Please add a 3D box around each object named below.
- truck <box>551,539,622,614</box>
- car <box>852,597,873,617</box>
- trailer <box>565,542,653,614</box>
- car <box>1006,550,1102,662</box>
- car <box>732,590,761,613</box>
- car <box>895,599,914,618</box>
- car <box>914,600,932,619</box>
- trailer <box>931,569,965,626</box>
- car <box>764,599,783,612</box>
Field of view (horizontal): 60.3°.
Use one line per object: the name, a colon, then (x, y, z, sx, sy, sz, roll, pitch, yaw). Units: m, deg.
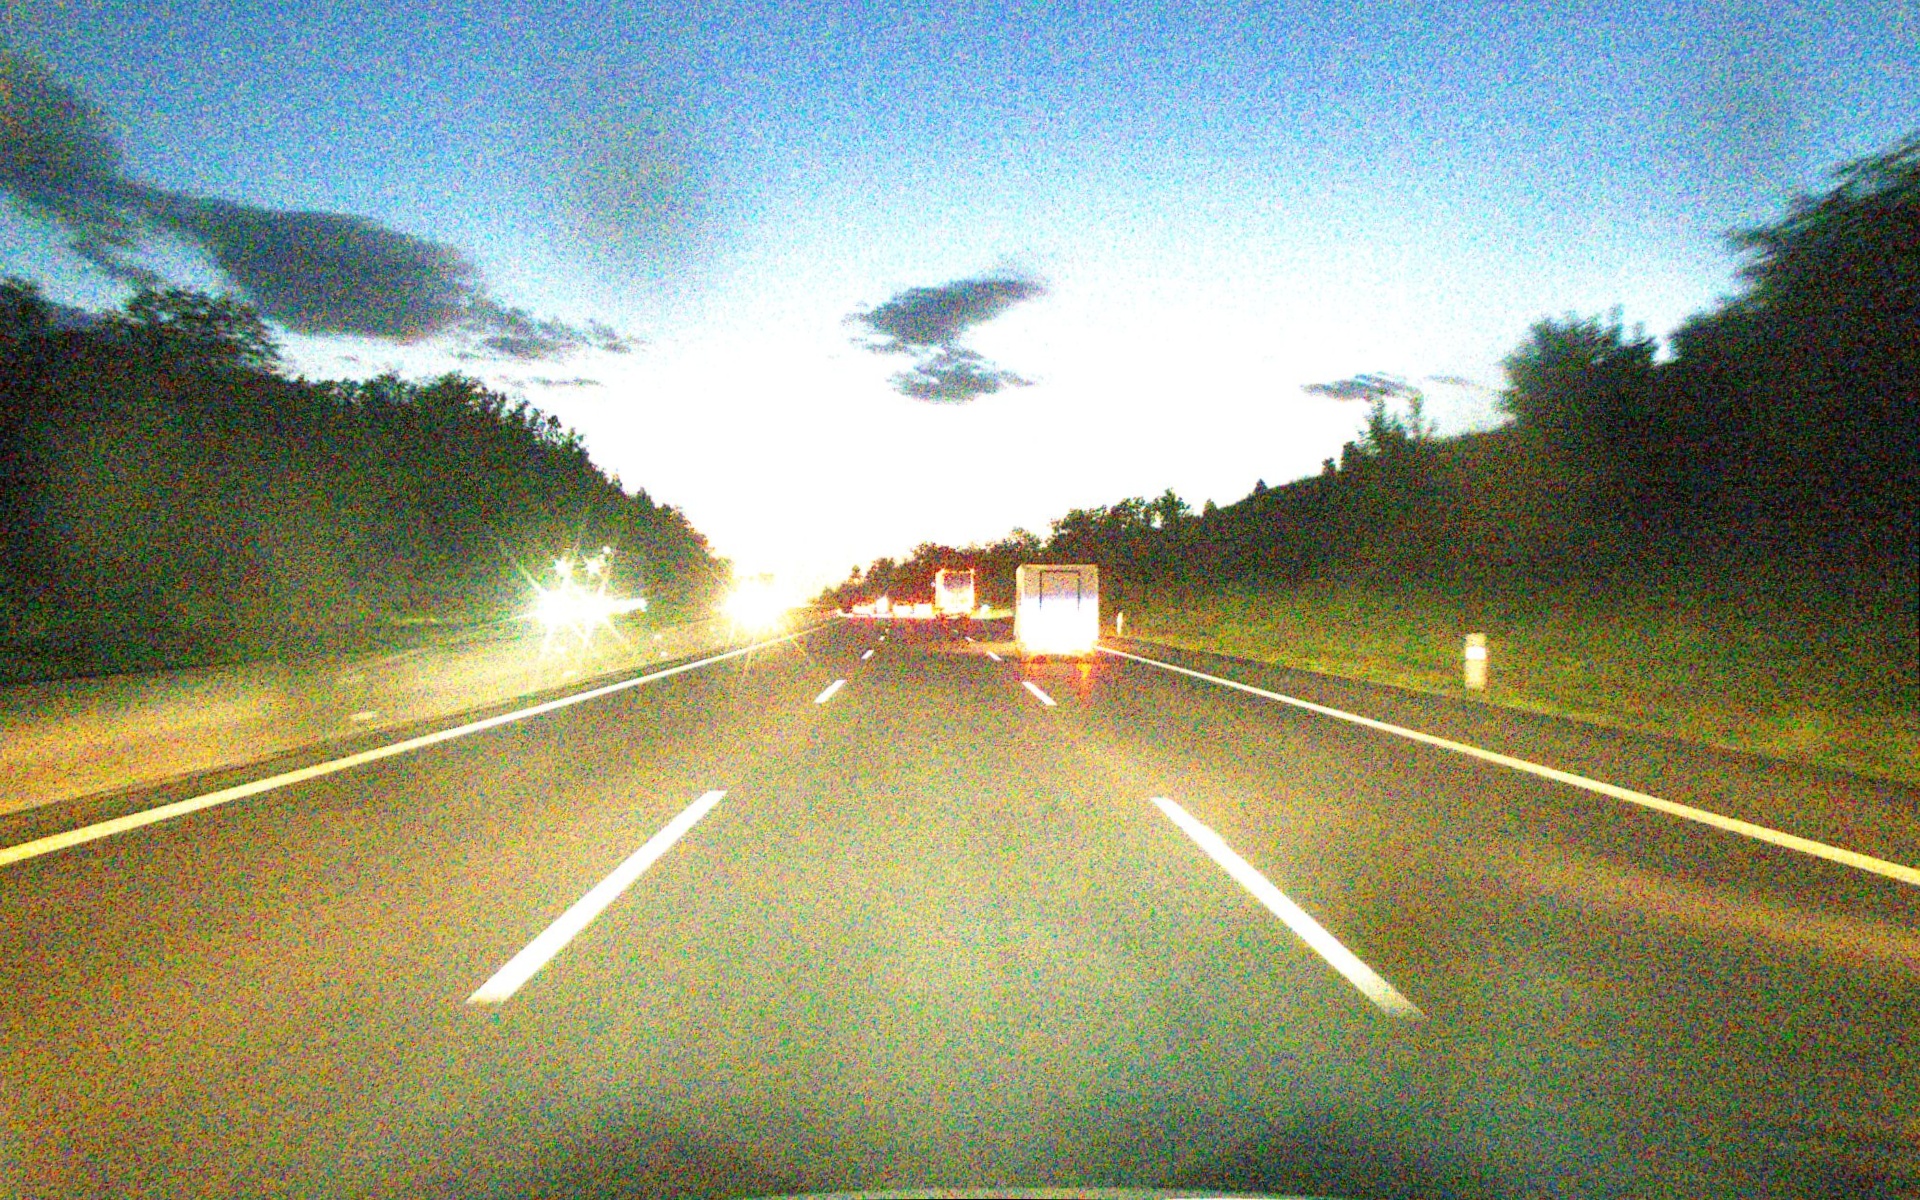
truck: (-20.858, -1.284, 92.667, 2.796, 4.050, 5.857, 0, 0, -2)
car: (-9.741, 0.701, 164.936, 1.955, 1.825, 3.995, 1, -2, -5)
trailer: (-21.086, -1.257, 100.302, 2.796, 4.050, 13.880, 0, 0, -2)
car: (2.360, 0.156, 42.754, 1.991, 2.693, 5.723, 0, 0, -2)
car: (-20.564, 0.130, 159.517, 2.199, 2.138, 5.712, 0, 0, -3)
car: (-5.623, 0.854, 167.366, 1.953, 1.825, 3.998, 0, -2, -2)
car: (-4.405, 1.097, 195.934, 1.954, 2.154, 3.996, 0, -2, -3)
trailer: (-1.107, -0.058, 141.873, 2.772, 4.332, 17.042, 0, -2, -1)
car: (-24.147, 0.749, 214.660, 2.200, 1.697, 4.886, 0, 0, -4)
